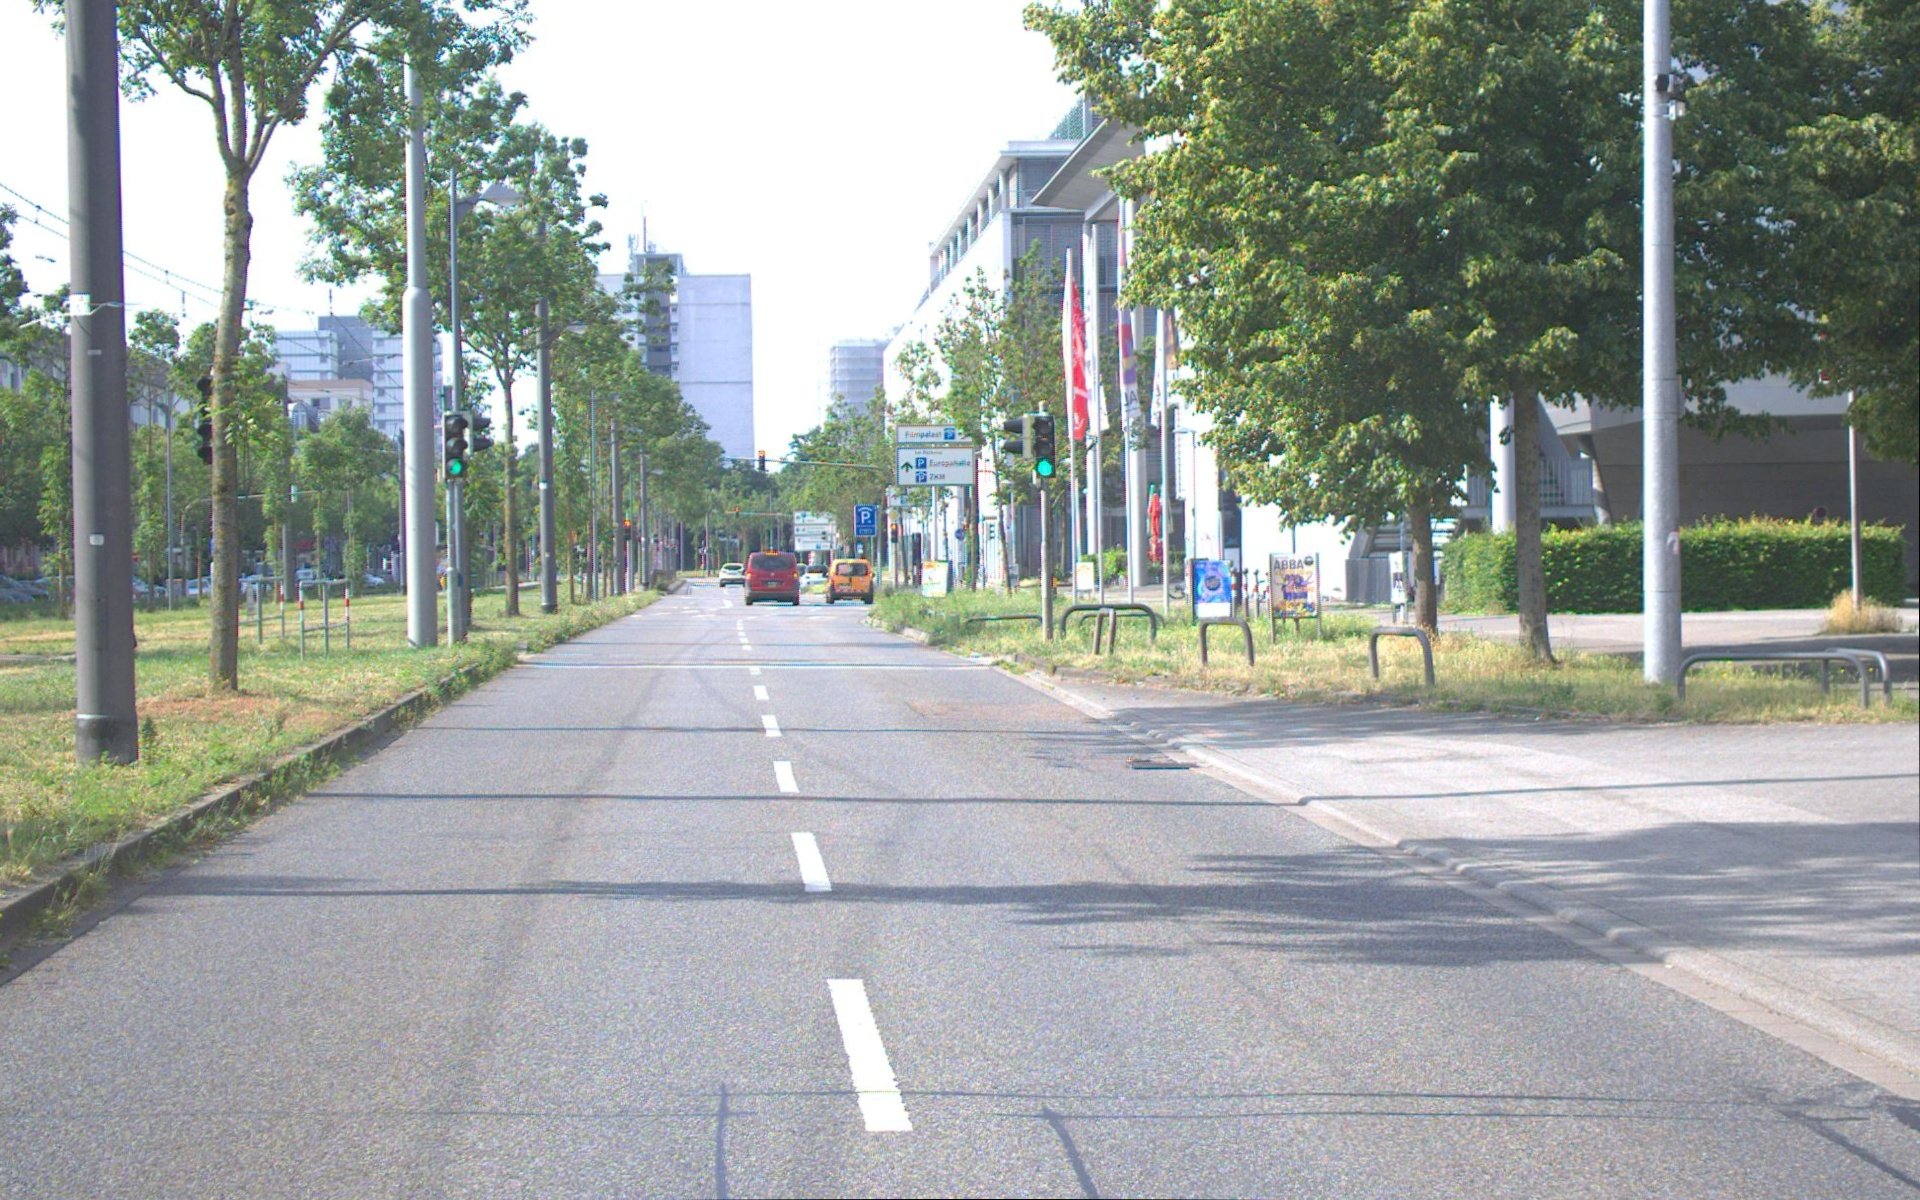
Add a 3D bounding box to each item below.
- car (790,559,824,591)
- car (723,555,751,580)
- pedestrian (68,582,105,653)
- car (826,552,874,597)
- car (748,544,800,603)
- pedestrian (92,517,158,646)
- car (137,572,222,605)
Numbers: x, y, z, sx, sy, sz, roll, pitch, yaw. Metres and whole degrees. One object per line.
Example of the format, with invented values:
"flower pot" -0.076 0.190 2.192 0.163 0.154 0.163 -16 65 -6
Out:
"car" -8.282 -1.338 185.612 1.748 1.645 3.216 2 0 -3
"car" -15.008 -2.186 231.400 1.748 1.645 3.216 2 0 -3
"pedestrian" -10.874 0.218 42.795 0.341 0.872 0.461 2 0 -3
"car" -4.209 -0.960 131.255 1.748 1.645 3.216 2 0 -3
"car" -6.570 -0.920 121.249 1.748 2.007 3.216 2 0 -3
"pedestrian" -10.343 -0.226 42.595 0.625 1.566 0.711 2 0 -3
"car" -39.796 -0.583 175.253 3.991 1.590 1.653 2 0 22
